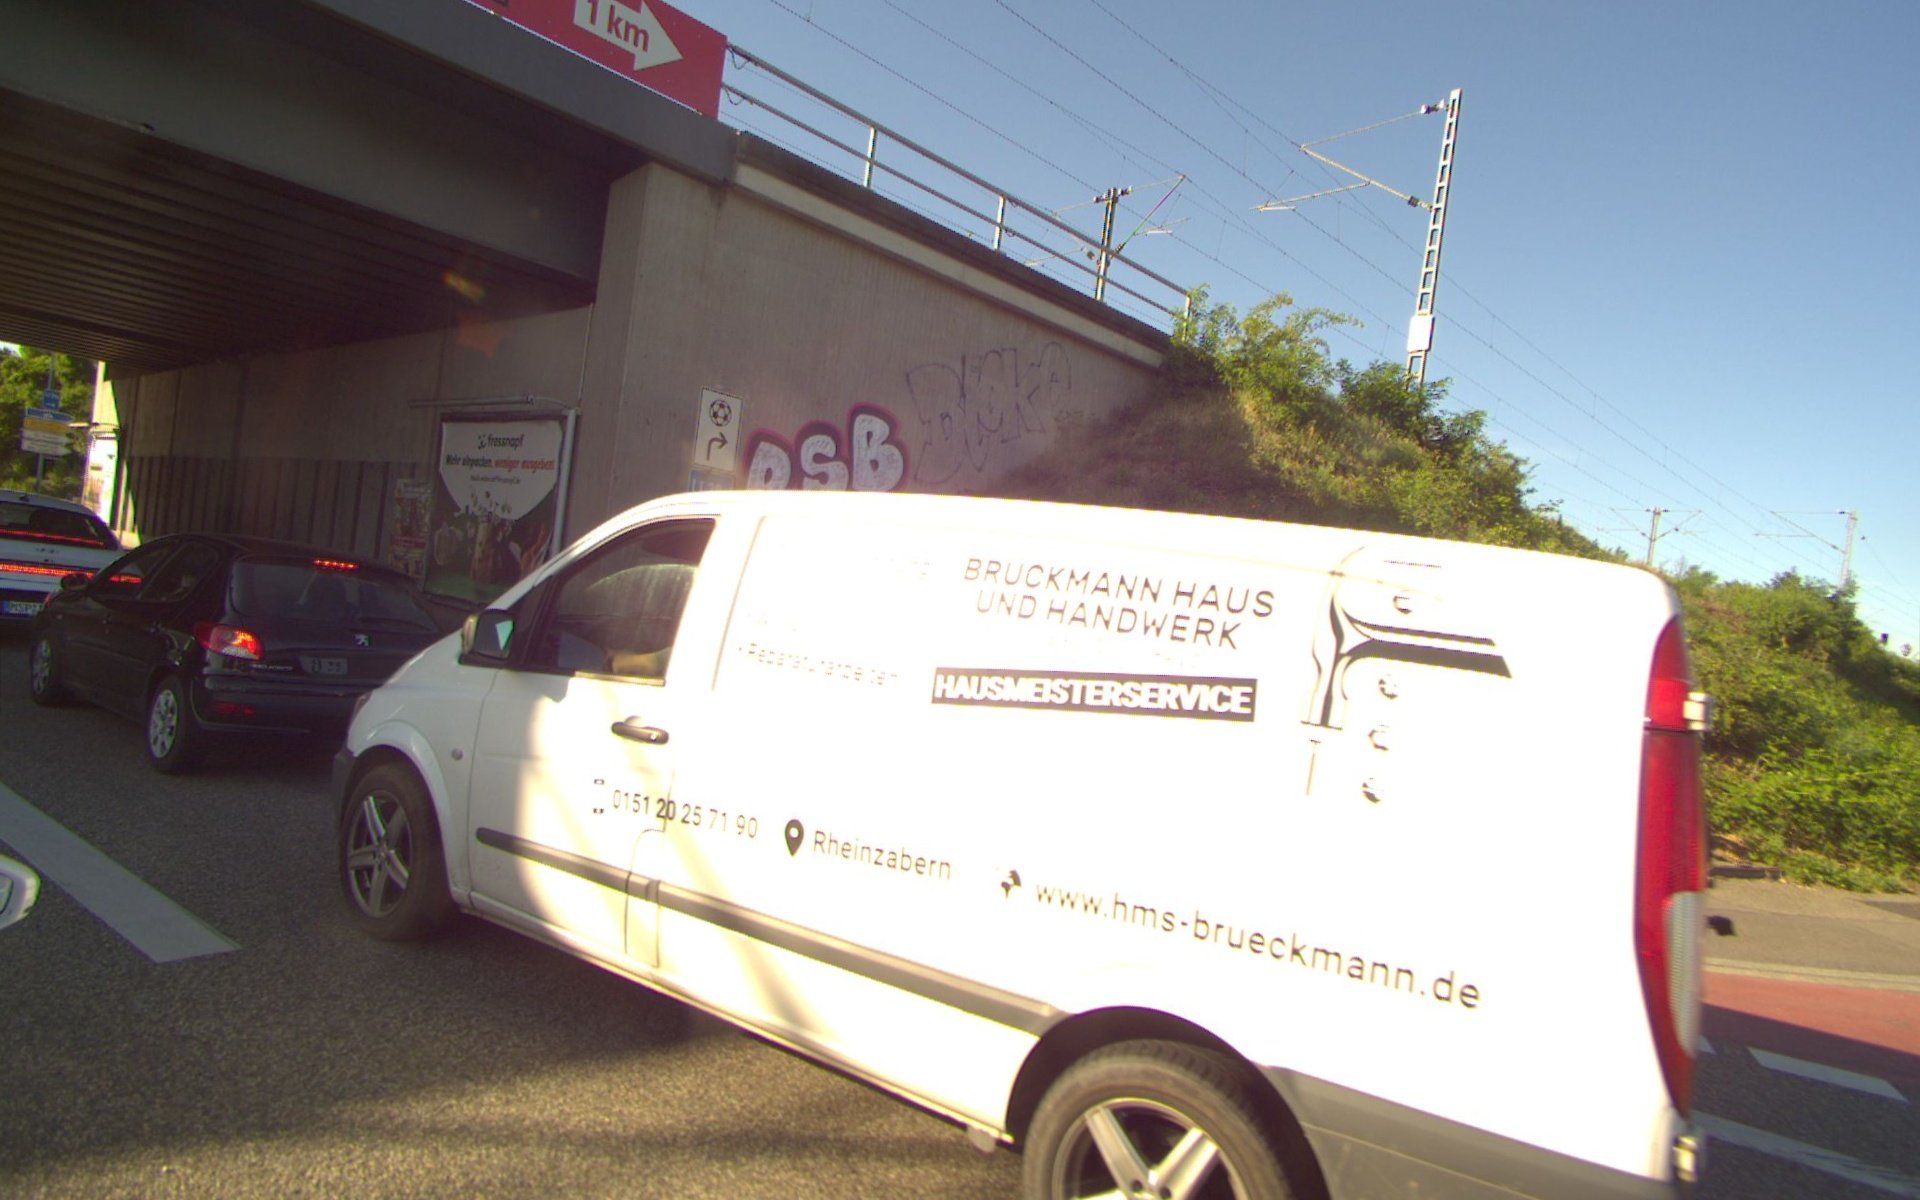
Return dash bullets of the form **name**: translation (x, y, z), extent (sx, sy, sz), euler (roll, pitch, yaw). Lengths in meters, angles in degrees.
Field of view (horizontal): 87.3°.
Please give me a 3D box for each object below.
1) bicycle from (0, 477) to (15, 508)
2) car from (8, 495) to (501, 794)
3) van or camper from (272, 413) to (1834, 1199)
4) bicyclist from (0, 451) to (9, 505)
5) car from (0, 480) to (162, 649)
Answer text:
- **bicycle**: translation (-29.780, -3.348, 30.928), extent (1.966, 0.905, 0.771), euler (7, 2, 38)
- **car**: translation (-5.093, 0.214, 7.126), extent (3.620, 1.451, 1.606), euler (8, -1, 35)
- **van or camper**: translation (-0.250, 0.549, 3.740), extent (4.798, 1.908, 1.959), euler (9, 3, 32)
- **bicyclist**: translation (-29.749, -3.776, 30.795), extent (0.912, 1.605, 0.750), euler (7, 3, 39)
- **car**: translation (-10.249, -0.511, 10.489), extent (4.220, 1.494, 1.764), euler (7, 0, 34)
